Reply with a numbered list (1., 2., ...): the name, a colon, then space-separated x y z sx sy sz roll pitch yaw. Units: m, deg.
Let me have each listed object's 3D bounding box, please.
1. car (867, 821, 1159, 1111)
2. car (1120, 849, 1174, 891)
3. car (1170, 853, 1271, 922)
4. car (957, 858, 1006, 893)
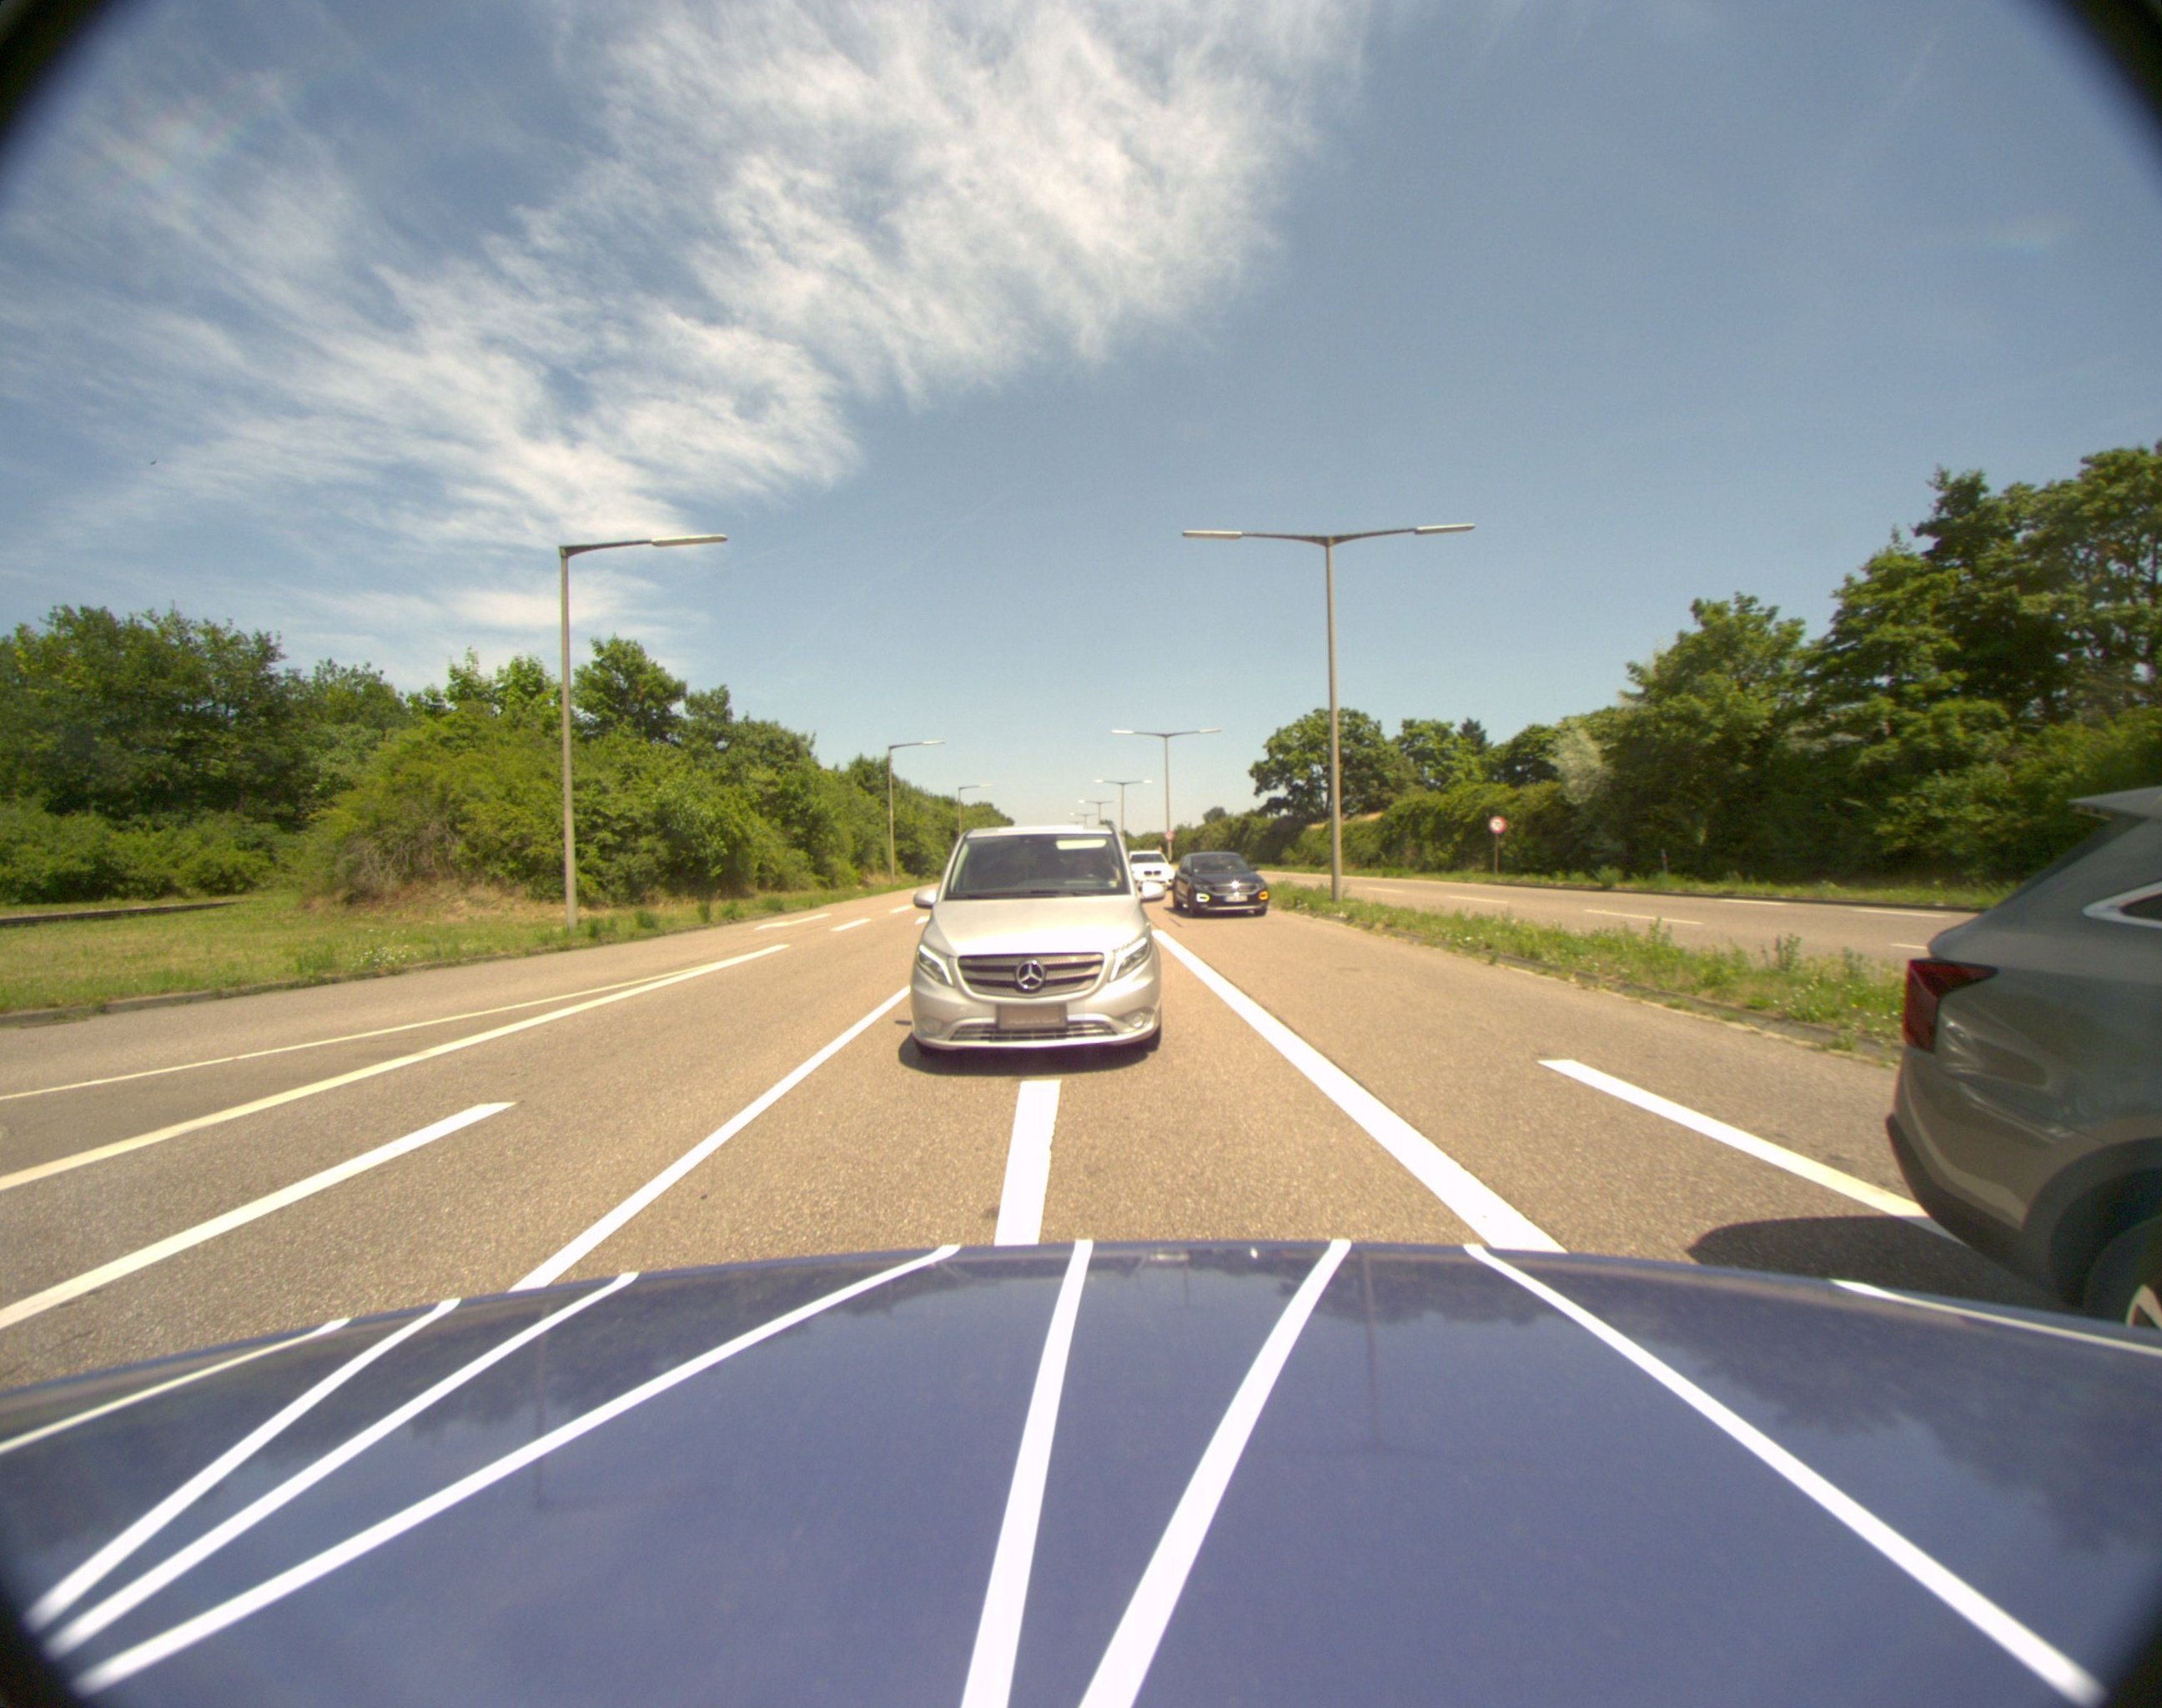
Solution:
1. car: -0.388 0.731 7.833 1.876 1.866 5.732 -1 0 1
2. car: 2.809 0.653 32.974 1.921 1.661 4.001 -1 1 -1
3. car: 3.354 0.750 19.019 1.753 1.491 4.000 -2 0 0
4. car: -4.780 1.018 37.005 1.722 1.587 4.001 -1 0 2
